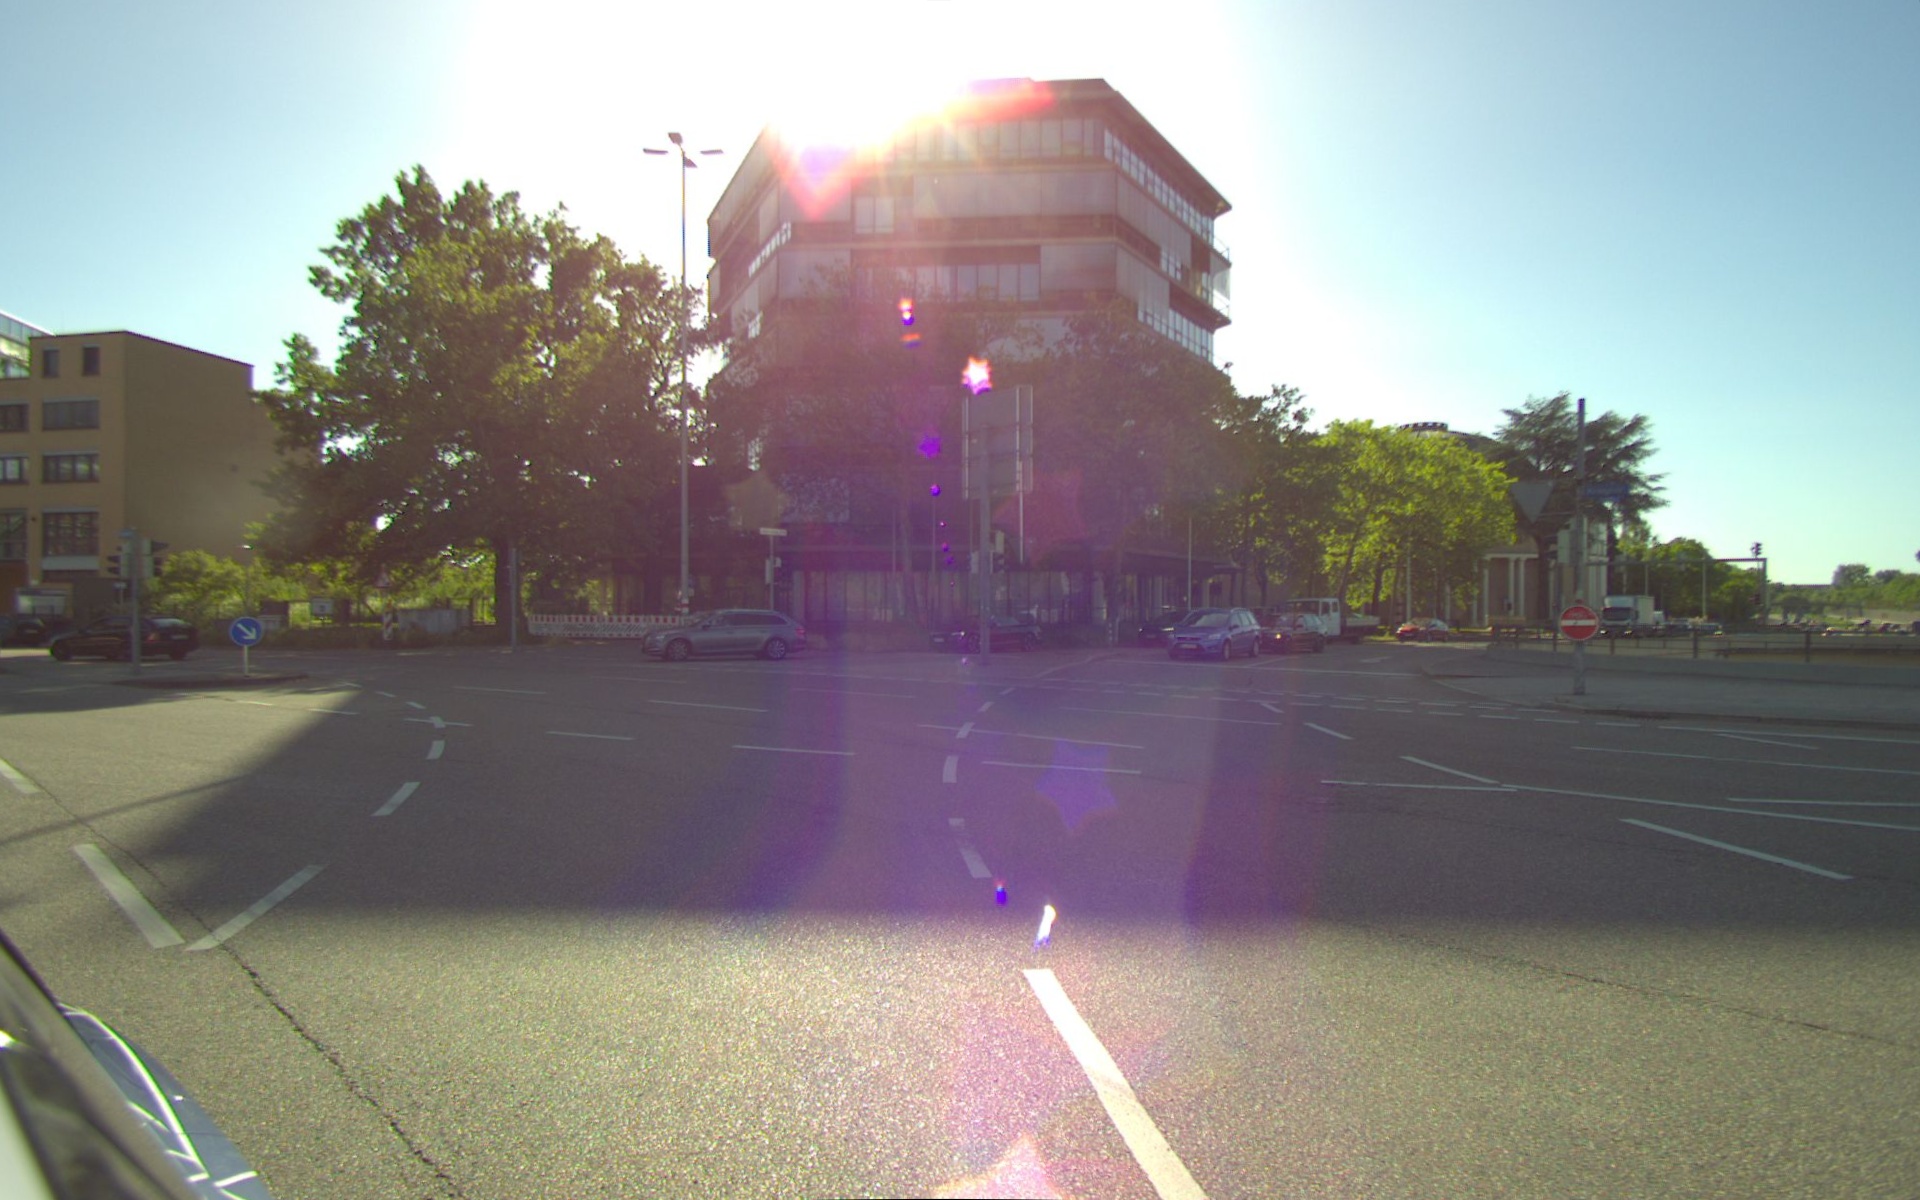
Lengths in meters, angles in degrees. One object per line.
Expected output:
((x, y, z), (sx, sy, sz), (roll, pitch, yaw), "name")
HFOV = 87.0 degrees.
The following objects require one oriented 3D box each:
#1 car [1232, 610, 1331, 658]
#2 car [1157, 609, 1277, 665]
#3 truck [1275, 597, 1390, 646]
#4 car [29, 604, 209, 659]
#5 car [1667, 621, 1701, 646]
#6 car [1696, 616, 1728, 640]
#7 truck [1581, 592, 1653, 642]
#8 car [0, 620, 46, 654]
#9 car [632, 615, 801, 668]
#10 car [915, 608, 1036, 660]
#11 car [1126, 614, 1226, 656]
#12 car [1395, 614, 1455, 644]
((11.382, 1.147, 35.707), (1.949, 1.552, 4.401), (-1, -1, 38), "car")
((7.912, 1.079, 30.890), (1.949, 1.552, 4.401), (-1, -1, 38), "car")
((19.400, 1.059, 52.518), (7.396, 2.378, 2.168), (0, -1, -40), "truck")
((-26.101, 0.968, 31.444), (4.739, 1.634, 1.942), (-1, -1, 15), "car")
((57.193, 2.627, 79.891), (1.740, 1.696, 3.995), (2, 2, 42), "car")
((69.445, 2.587, 93.498), (2.000, 2.028, 3.945), (1, 2, 42), "car")
((54.714, 1.316, 84.153), (3.851, 3.825, 9.219), (-1, 0, 40), "truck")
((-45.071, 1.763, 47.085), (4.337, 1.520, 1.652), (-2, -3, 14), "car")
((-7.072, 1.188, 29.497), (4.431, 1.368, 1.886), (-1, -2, -29), "car")
((0.590, 1.152, 35.509), (4.132, 1.713, 1.817), (0, -1, -42), "car")
((9.304, 1.457, 43.420), (4.438, 1.657, 1.883), (0, -1, -40), "car")
((27.741, 1.704, 60.343), (4.133, 1.713, 1.817), (0, -1, -43), "car")
